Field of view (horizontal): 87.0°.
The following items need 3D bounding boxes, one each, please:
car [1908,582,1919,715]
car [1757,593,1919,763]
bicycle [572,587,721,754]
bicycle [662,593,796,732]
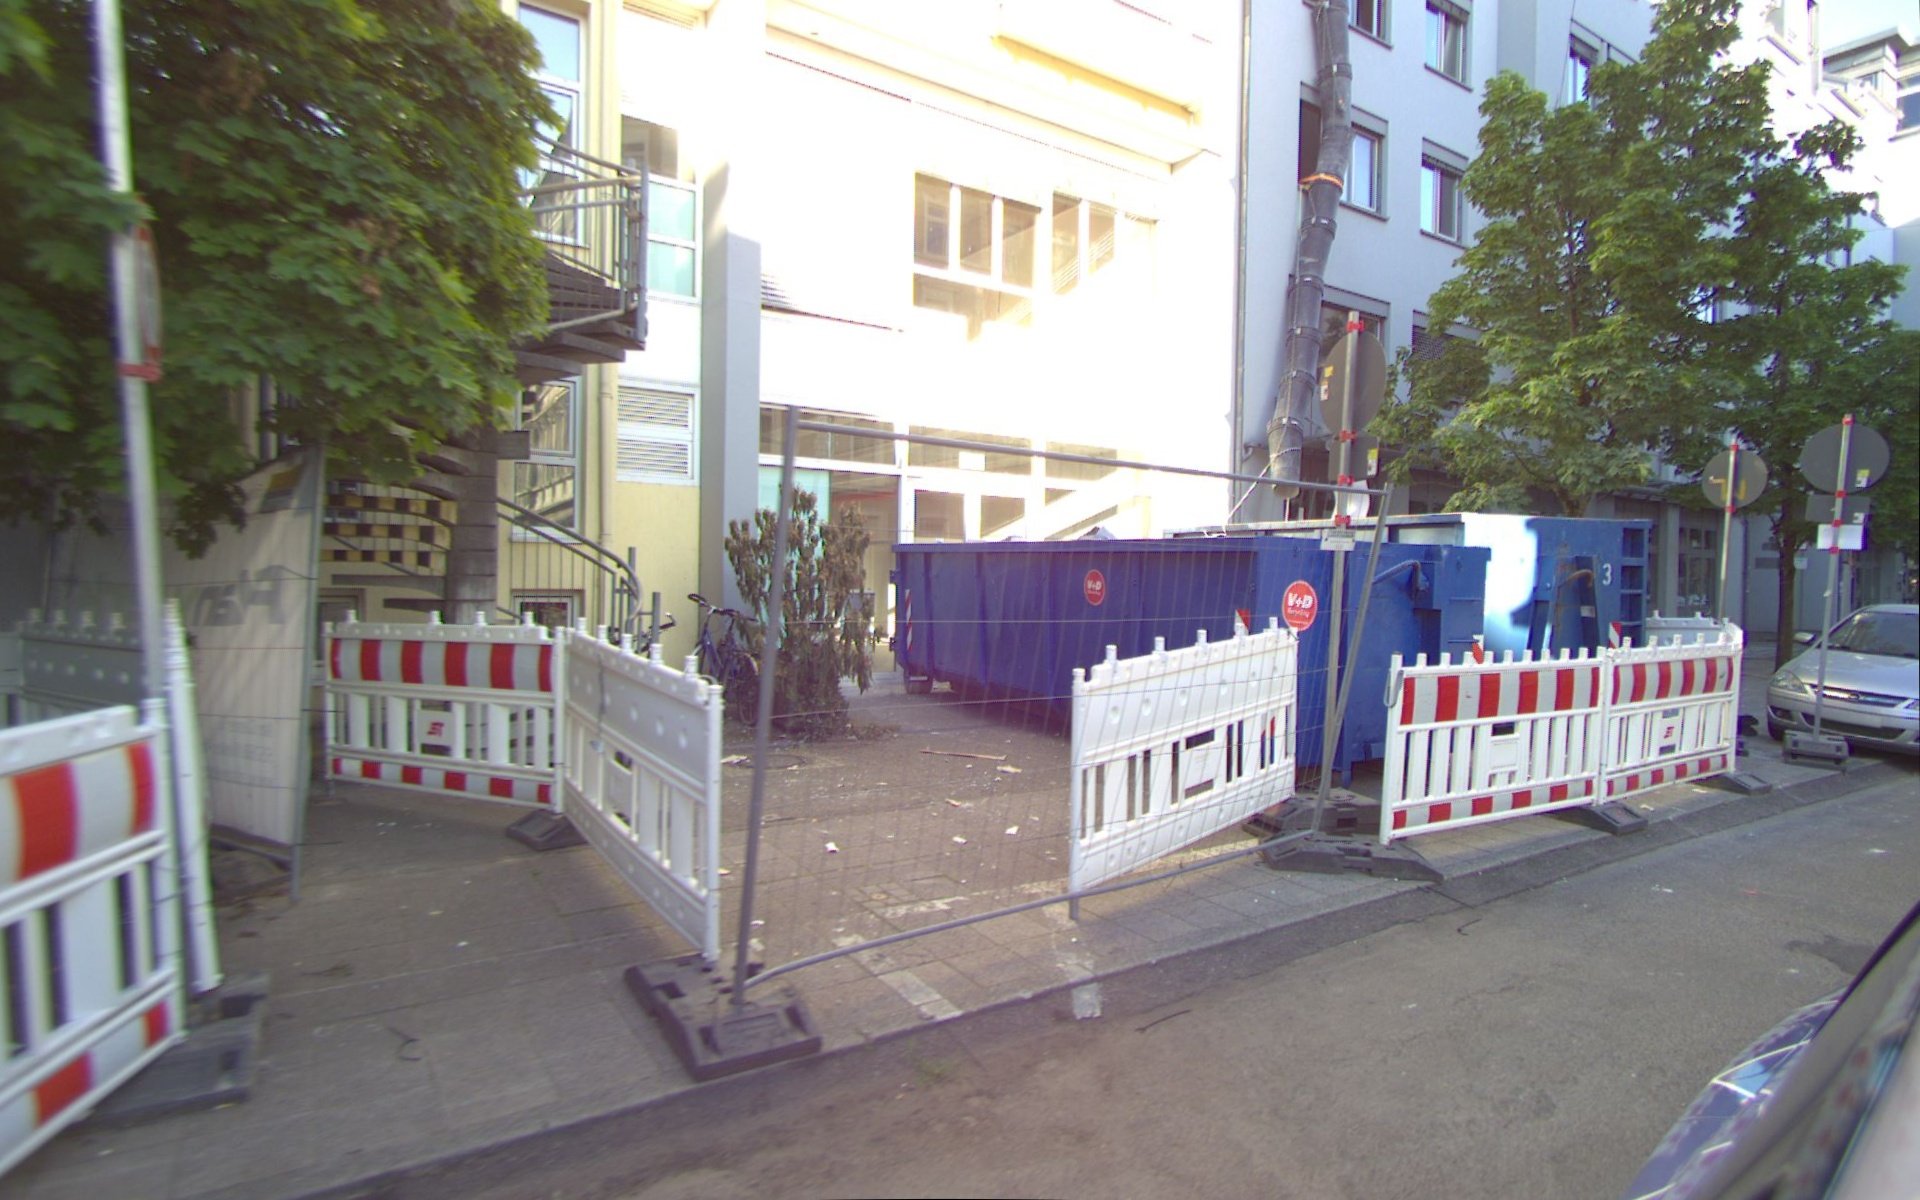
[{"bbox_3d":[13.691,0.612,12.485,3.920,1.605,1.916,0,0,-31],"label":"car"},{"bbox_3d":[9.863,0.691,10.143,3.985,1.465,1.641,0,0,-31],"label":"car"},{"bbox_3d":[-2.693,0.541,8.587,0.540,1.284,1.647,1,-1,-43],"label":"bicycle"},{"bbox_3d":[-2.346,0.563,10.102,0.553,1.181,1.888,1,2,-37],"label":"bicycle"}]
